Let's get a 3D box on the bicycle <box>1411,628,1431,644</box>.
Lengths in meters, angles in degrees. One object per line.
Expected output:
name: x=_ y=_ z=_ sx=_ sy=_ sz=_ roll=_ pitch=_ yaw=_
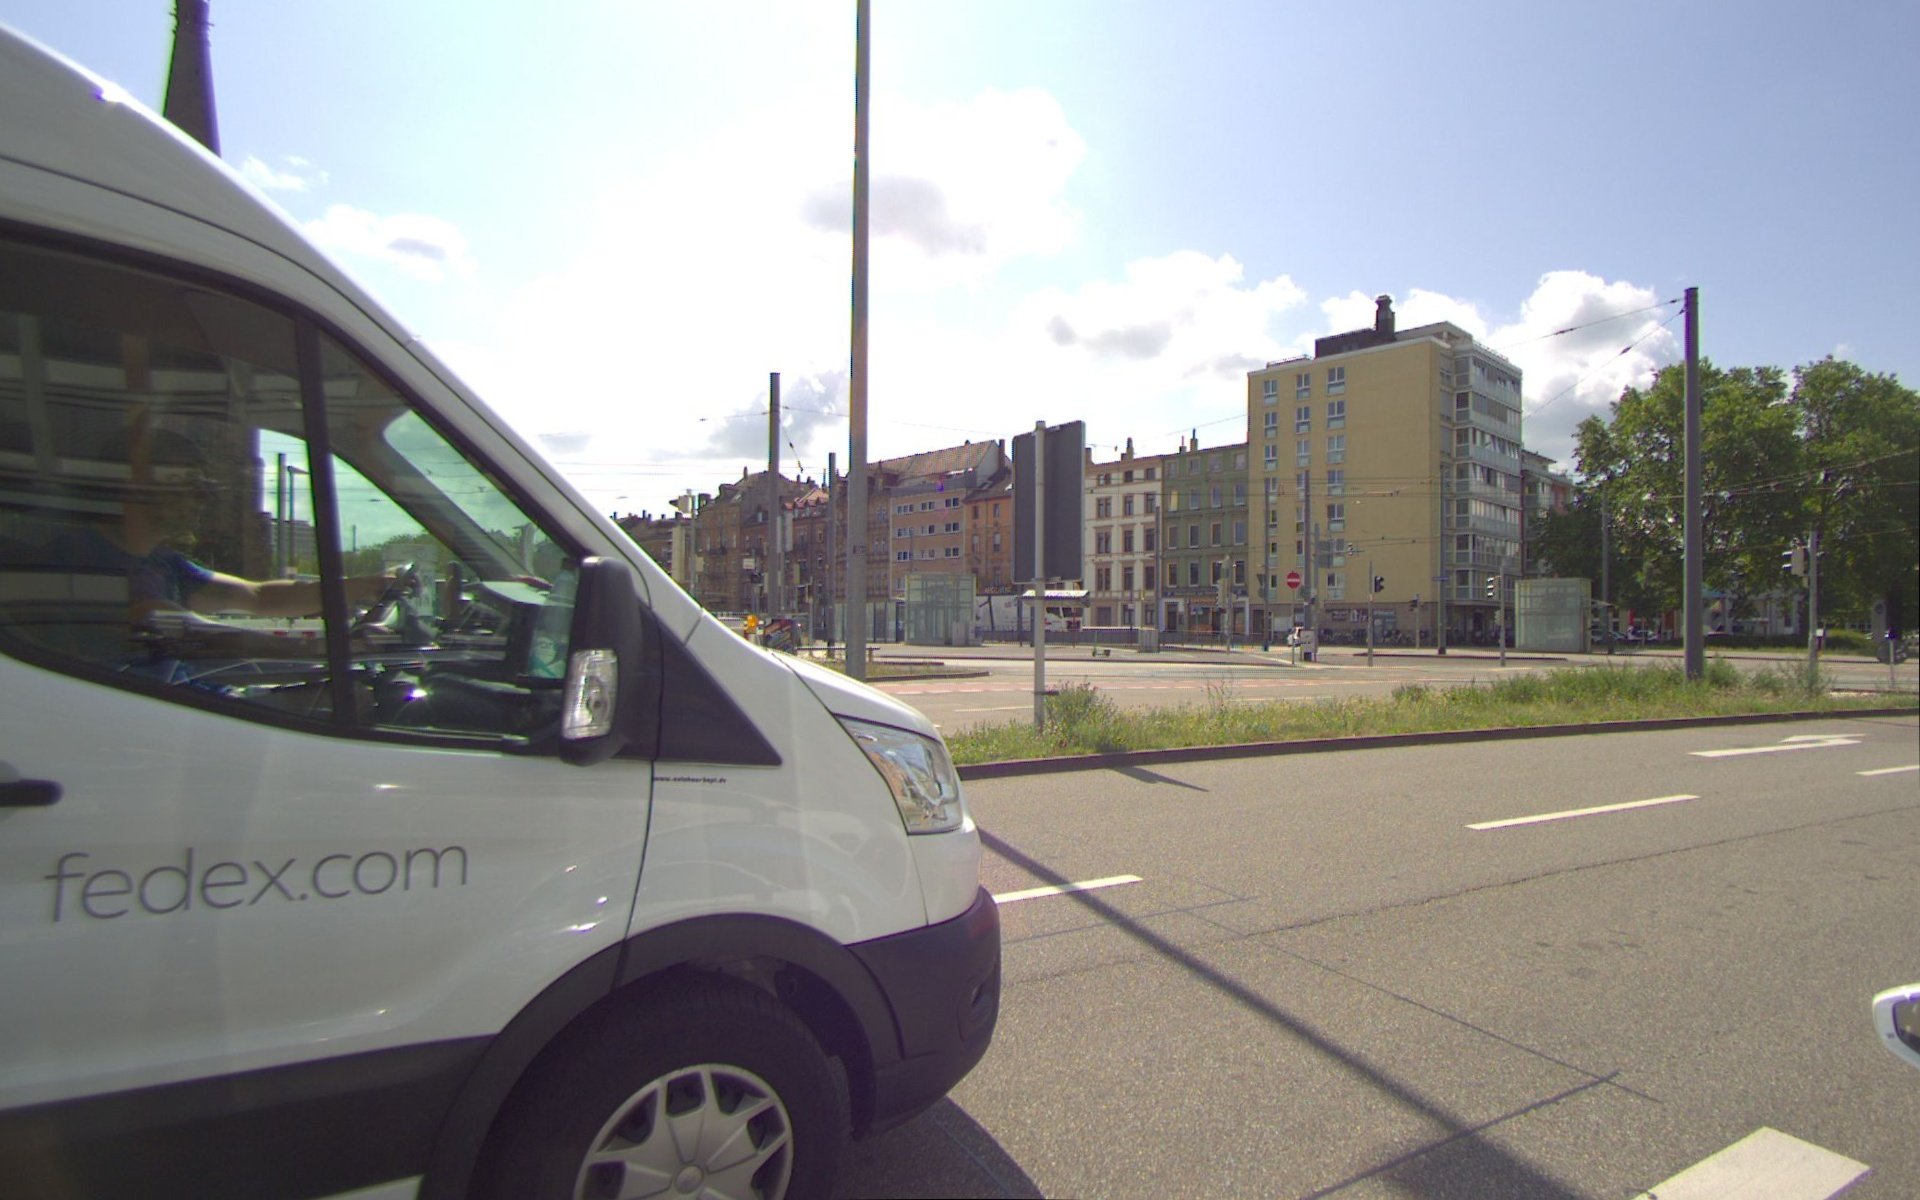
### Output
bicycle: x=34.509 y=2.676 z=75.224 sx=0.501 sy=1.162 sz=2.135 roll=2 pitch=-1 yaw=0

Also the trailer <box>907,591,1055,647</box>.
trailer: x=1.373 y=1.418 z=79.355 sx=2.690 sy=4.021 sz=13.862 roll=3 pitch=-1 yaw=-43

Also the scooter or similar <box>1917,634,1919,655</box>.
scooter or similar: x=52.294 y=2.413 z=54.196 sx=1.075 sy=1.130 sz=0.378 roll=2 pitch=-1 yaw=-8

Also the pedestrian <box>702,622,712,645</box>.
pedestrian: x=-20.282 y=2.717 z=80.541 sx=0.609 sy=1.816 sz=0.525 roll=2 pitch=-1 yaw=-20

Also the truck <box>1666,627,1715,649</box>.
truck: x=72.773 y=3.791 z=100.005 sx=4.711 sy=2.148 sz=1.800 roll=1 pitch=-1 yaw=-23

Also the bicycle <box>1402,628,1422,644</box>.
bicycle: x=33.903 y=2.666 z=75.439 sx=0.523 sy=1.162 sz=2.135 roll=2 pitch=-1 yaw=0

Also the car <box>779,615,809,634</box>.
car: x=-22.310 y=3.316 z=135.030 sx=1.988 sy=2.374 sz=4.065 roll=3 pitch=-1 yaw=-45

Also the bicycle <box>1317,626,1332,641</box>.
bicycle: x=29.011 y=2.647 z=79.960 sx=0.501 sy=1.162 sz=2.136 roll=2 pitch=-1 yaw=3

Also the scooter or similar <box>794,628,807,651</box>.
scooter or similar: x=-7.932 y=1.973 z=50.003 sx=0.238 sy=1.104 sz=1.131 roll=2 pitch=-1 yaw=11

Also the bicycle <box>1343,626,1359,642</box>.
bicycle: x=30.569 y=2.660 z=78.470 sx=0.501 sy=1.162 sz=2.136 roll=2 pitch=-1 yaw=3

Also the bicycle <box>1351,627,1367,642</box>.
bicycle: x=31.069 y=2.671 z=78.204 sx=0.501 sy=1.162 sz=2.136 roll=2 pitch=-1 yaw=3

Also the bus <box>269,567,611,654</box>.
bus: x=-20.248 y=0.427 z=39.534 sx=12.024 sy=2.897 sz=2.595 roll=2 pitch=-1 yaw=0

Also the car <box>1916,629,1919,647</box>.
car: x=87.928 y=3.452 z=90.131 sx=4.129 sy=1.595 sz=1.984 roll=3 pitch=-1 yaw=-30

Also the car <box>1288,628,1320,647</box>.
car: x=25.002 y=2.722 z=73.094 sx=1.625 sy=1.338 sz=3.359 roll=0 pitch=-1 yaw=8

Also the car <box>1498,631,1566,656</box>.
car: x=42.660 y=3.243 z=74.973 sx=1.855 sy=1.687 sz=4.066 roll=3 pitch=-1 yaw=-42

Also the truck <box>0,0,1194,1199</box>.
truck: x=-2.471 y=0.108 z=1.838 sx=5.852 sy=2.675 sz=2.125 roll=2 pitch=-1 yaw=-32

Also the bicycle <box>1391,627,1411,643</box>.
bicycle: x=33.273 y=2.635 z=75.813 sx=0.501 sy=1.162 sz=2.135 roll=2 pitch=-1 yaw=0

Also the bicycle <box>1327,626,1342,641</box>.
bicycle: x=29.629 y=2.671 z=79.514 sx=0.501 sy=1.162 sz=2.136 roll=2 pitch=-1 yaw=3

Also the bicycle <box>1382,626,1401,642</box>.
bicycle: x=32.684 y=2.594 z=76.092 sx=0.501 sy=1.162 sz=2.135 roll=2 pitch=-1 yaw=0

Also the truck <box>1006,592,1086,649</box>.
truck: x=6.312 y=1.494 z=74.132 sx=2.690 sy=4.021 sz=5.379 roll=3 pitch=-1 yaw=-44
